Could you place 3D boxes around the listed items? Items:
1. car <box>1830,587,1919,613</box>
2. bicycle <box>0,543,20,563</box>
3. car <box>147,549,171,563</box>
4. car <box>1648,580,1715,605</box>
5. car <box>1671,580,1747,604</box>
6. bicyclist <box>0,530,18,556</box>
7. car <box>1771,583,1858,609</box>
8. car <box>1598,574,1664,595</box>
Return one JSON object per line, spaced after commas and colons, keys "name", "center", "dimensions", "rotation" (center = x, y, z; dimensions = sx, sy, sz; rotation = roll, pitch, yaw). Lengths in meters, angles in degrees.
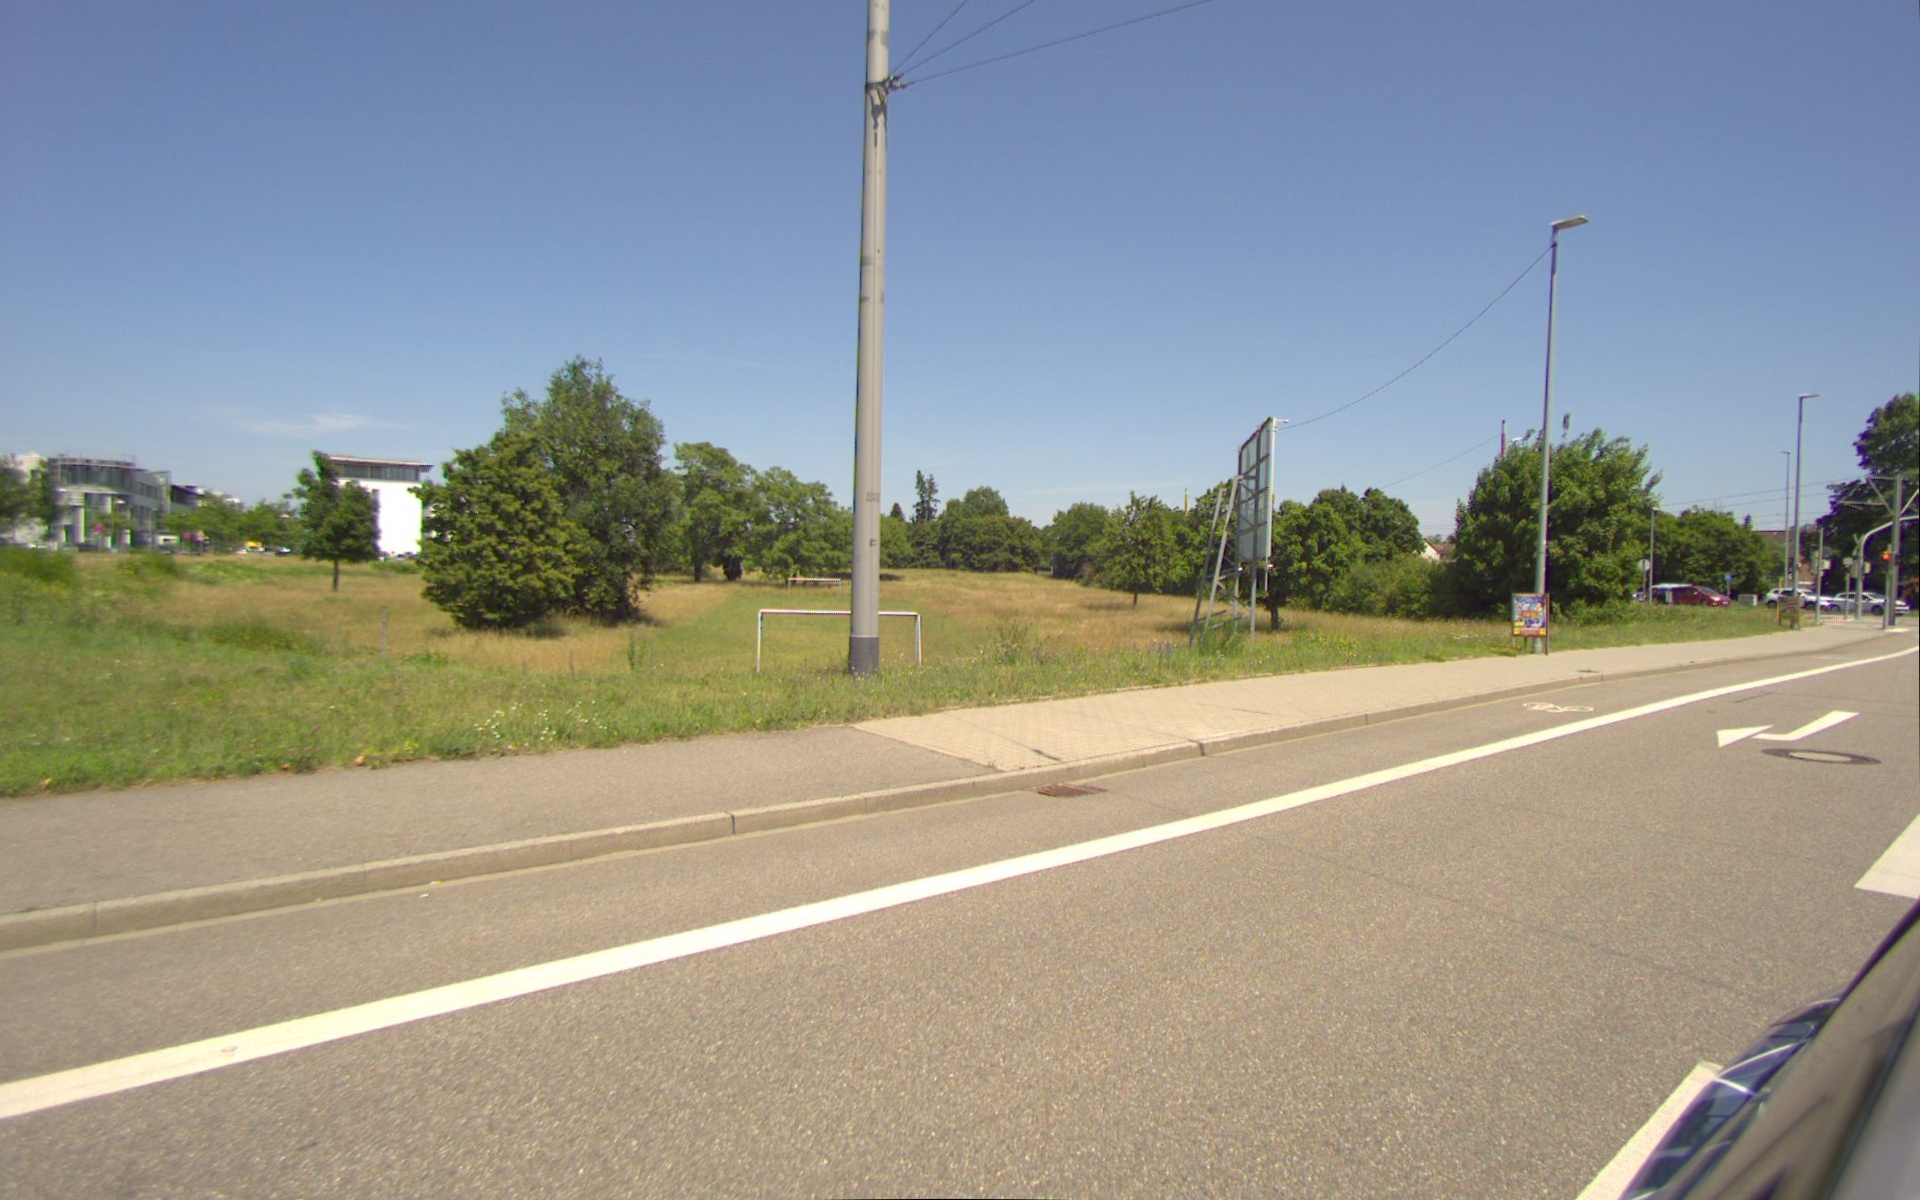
{"name": "car", "center": [57.189, -0.012, 63.004], "dimensions": [1.836, 1.406, 4.420], "rotation": [2, 1, -9]}
{"name": "bicycle", "center": [-59.762, -2.963, 63.543], "dimensions": [0.601, 1.195, 1.968], "rotation": [3, 1, -29]}
{"name": "car", "center": [-98.394, -5.397, 124.351], "dimensions": [1.671, 1.552, 3.632], "rotation": [3, -1, -29]}
{"name": "car", "center": [59.795, -0.651, 83.957], "dimensions": [1.857, 1.815, 4.402], "rotation": [3, 1, -11]}
{"name": "car", "center": [55.051, -0.627, 74.484], "dimensions": [1.836, 1.595, 4.420], "rotation": [2, 1, -9]}
{"name": "bicyclist", "center": [-59.756, -3.578, 63.575], "dimensions": [0.597, 1.644, 0.694], "rotation": [3, 1, -30]}
{"name": "car", "center": [59.168, -0.329, 70.179], "dimensions": [1.836, 1.595, 4.420], "rotation": [2, 1, -9]}
{"name": "car", "center": [53.822, -1.272, 81.323], "dimensions": [1.836, 1.595, 4.420], "rotation": [2, 1, -9]}
